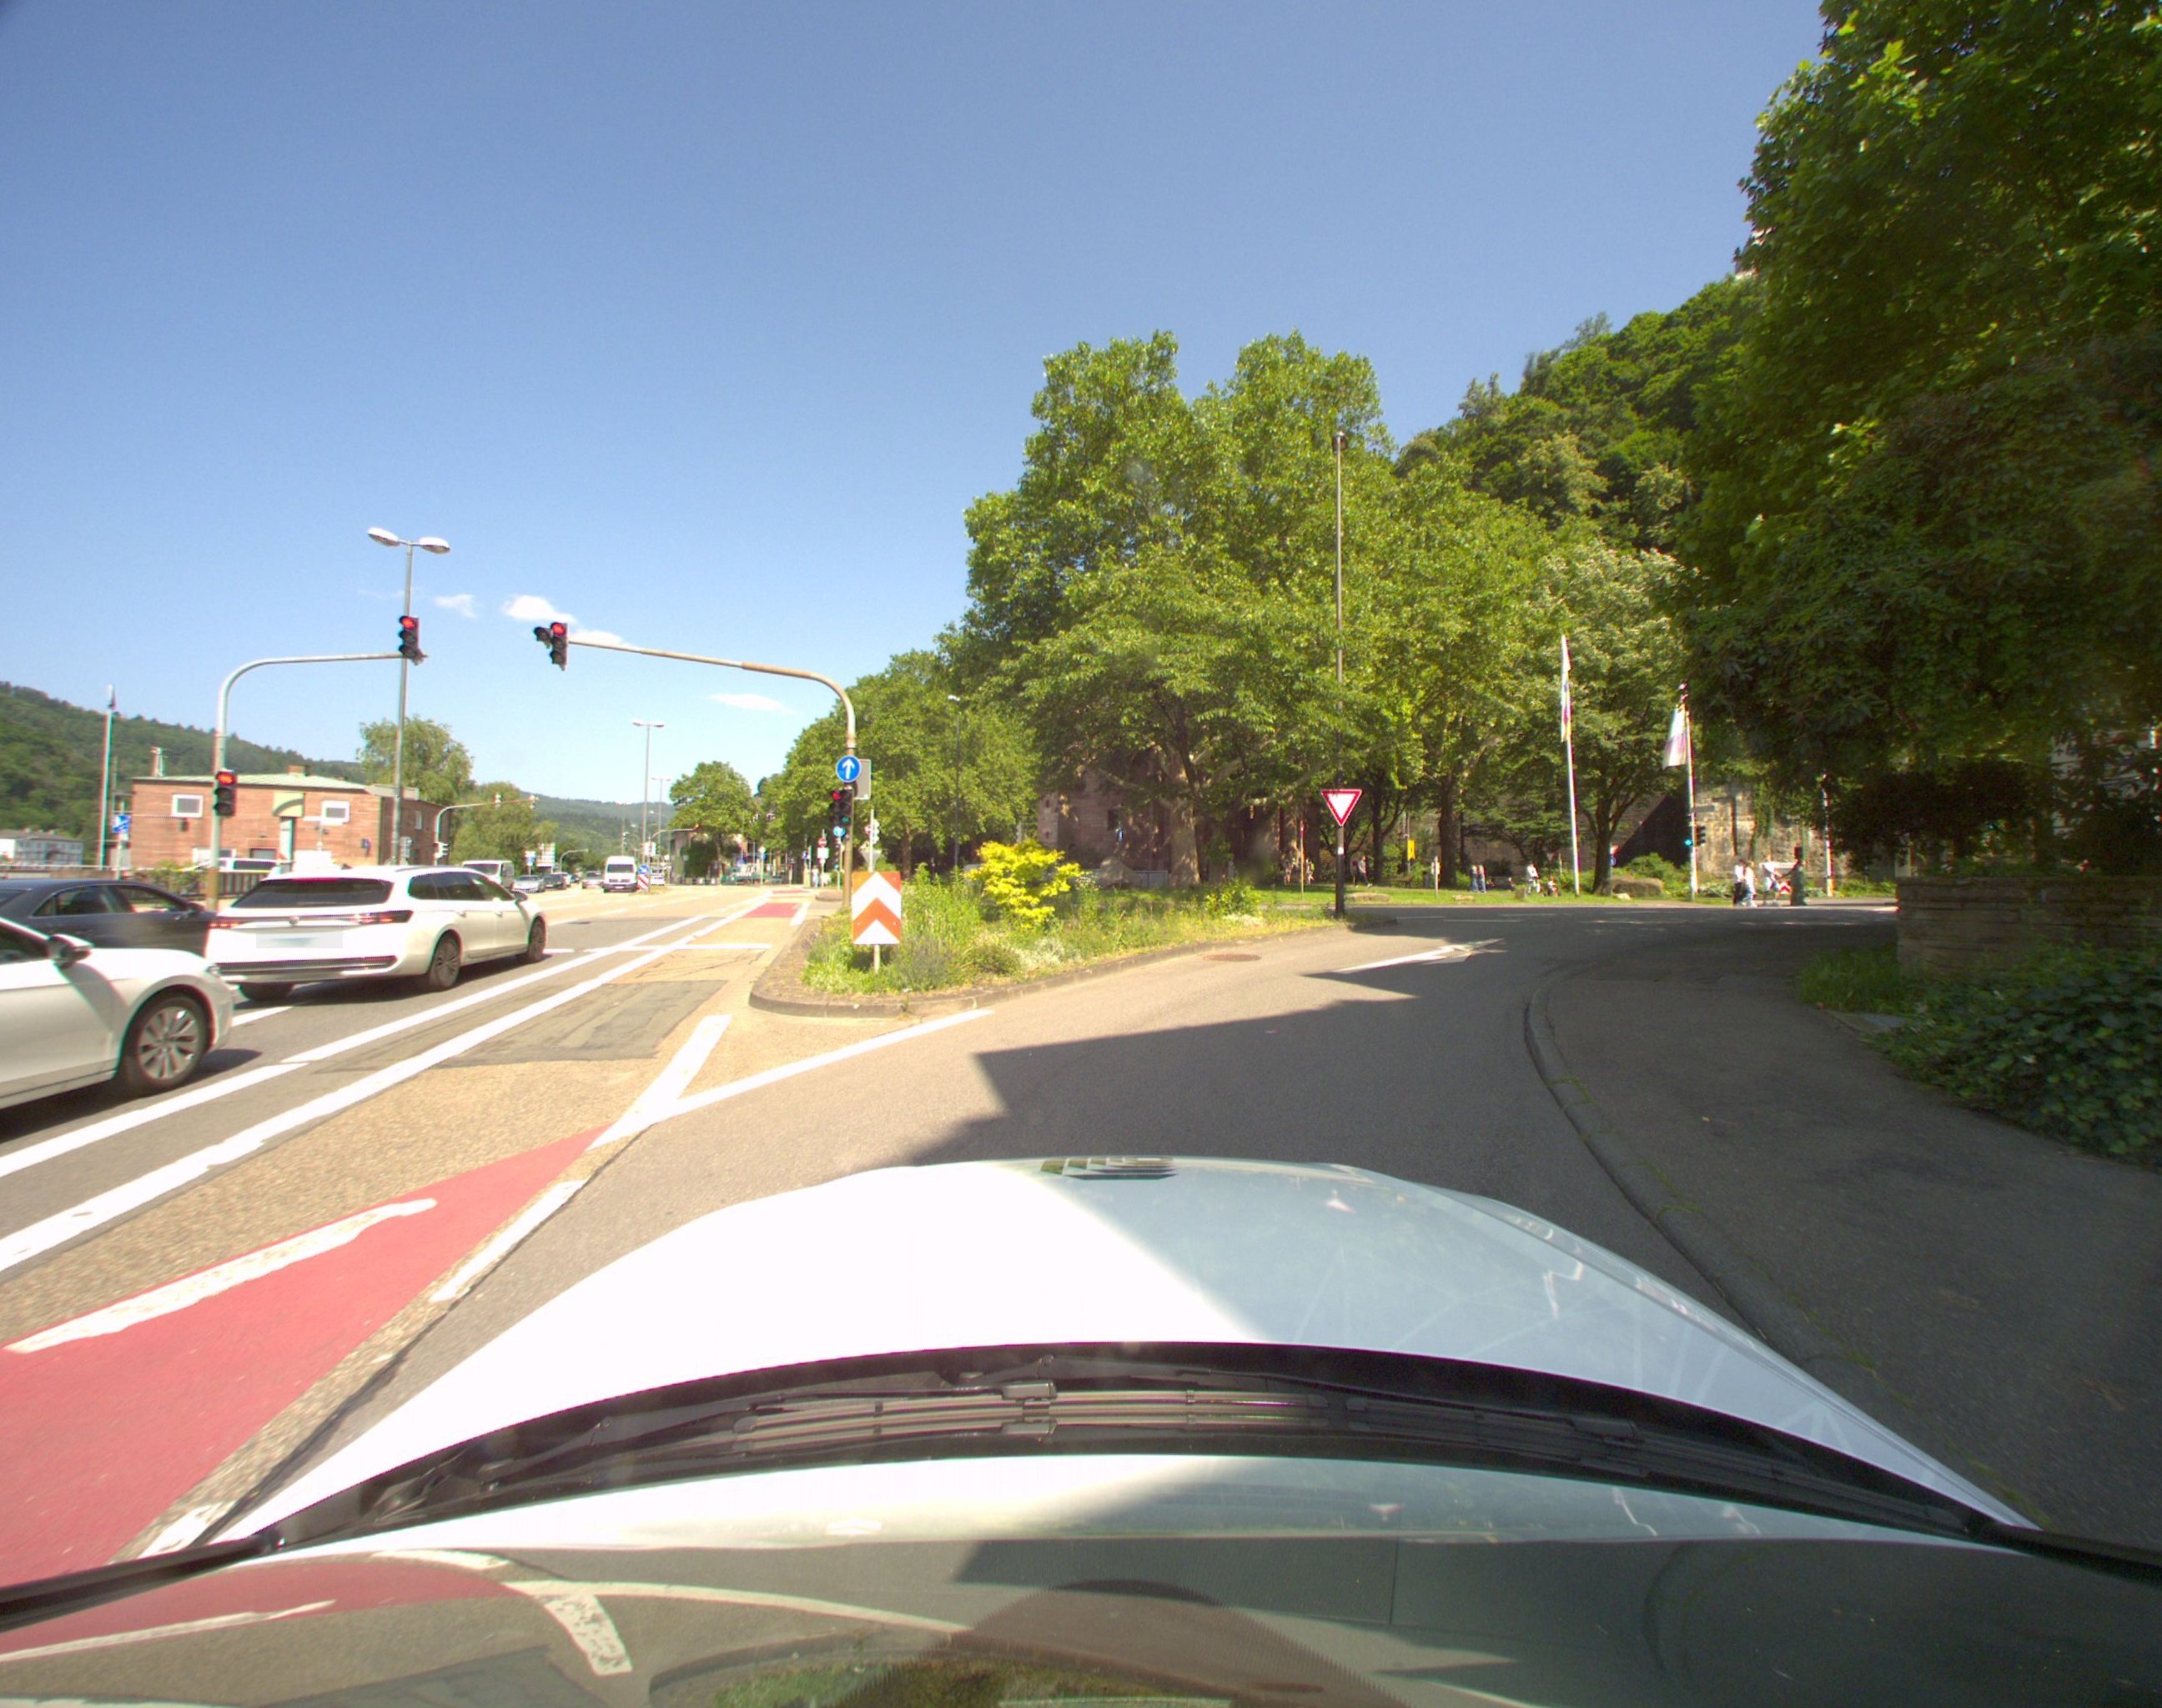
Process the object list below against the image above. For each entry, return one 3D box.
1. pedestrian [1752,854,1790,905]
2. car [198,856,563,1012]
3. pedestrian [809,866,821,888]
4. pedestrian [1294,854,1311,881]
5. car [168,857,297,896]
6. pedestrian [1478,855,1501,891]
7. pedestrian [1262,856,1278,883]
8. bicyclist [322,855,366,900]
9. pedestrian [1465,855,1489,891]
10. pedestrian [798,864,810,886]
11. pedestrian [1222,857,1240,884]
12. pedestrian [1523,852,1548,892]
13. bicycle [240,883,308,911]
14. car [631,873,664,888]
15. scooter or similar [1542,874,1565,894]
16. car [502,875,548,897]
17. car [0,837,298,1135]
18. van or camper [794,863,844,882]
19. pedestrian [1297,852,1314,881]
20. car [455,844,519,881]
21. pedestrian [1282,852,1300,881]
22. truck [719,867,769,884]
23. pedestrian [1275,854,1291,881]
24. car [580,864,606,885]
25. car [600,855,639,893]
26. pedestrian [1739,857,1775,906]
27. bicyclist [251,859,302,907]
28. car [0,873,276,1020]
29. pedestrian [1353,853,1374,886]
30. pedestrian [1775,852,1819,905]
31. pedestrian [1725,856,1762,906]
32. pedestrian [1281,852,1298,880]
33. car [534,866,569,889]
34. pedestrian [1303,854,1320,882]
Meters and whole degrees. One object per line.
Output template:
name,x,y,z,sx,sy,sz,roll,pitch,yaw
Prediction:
pedestrian,24.422,0.905,28.831,0.765,1.756,0.757,2,-2,-21
car,-8.542,0.827,10.586,1.789,1.532,4.710,-1,-1,-16
pedestrian,-20.582,1.761,63.003,0.761,1.708,0.875,-1,-1,-8
pedestrian,14.280,0.873,52.541,0.795,1.756,0.661,2,-2,-21
car,-46.678,1.186,44.889,1.974,2.014,4.647,-1,-1,34
pedestrian,20.474,0.942,40.793,0.795,1.756,0.661,2,-2,-21
pedestrian,12.507,1.016,53.928,0.795,1.756,0.661,2,-2,-21
bicyclist,-34.200,1.083,37.805,1.217,2.014,1.110,0,-1,-23
pedestrian,19.684,0.929,40.495,0.795,1.756,0.661,2,-1,-21
pedestrian,-21.383,1.608,62.892,0.761,1.719,0.793,-1,-1,-8
pedestrian,9.930,1.079,53.993,0.795,1.782,0.870,0,-1,-20
pedestrian,20.143,0.798,36.064,0.769,1.756,0.753,0,-1,-44
bicycle,-34.656,1.835,35.033,1.218,1.090,2.577,0,-1,-24
car,-61.018,3.748,114.584,3.953,2.014,1.953,-1,0,20
scooter or similar,20.608,1.299,35.491,0.573,0.812,0.724,0,-1,-44
car,-40.761,2.294,59.814,2.218,1.458,4.708,0,-1,-27
car,-6.483,0.684,3.736,1.996,1.533,4.835,0,0,-14
van or camper,-27.066,1.923,84.241,4.523,1.902,2.001,-1,-1,3
pedestrian,13.971,0.771,50.668,0.795,1.756,0.661,2,-2,-21
car,-35.336,0.505,48.579,2.226,2.078,5.000,0,-1,-26
pedestrian,13.068,0.775,50.737,0.795,1.756,0.661,2,-2,-21
truck,-40.570,2.564,98.100,6.192,2.014,2.177,-1,-1,29
pedestrian,13.466,0.902,54.322,0.795,1.756,0.661,2,-2,-21
car,-45.241,1.866,75.491,2.007,1.833,3.960,0,0,-32
car,-33.443,1.387,59.015,2.398,2.576,5.997,0,-1,-30
pedestrian,24.926,1.020,30.038,0.765,1.756,0.757,2,-2,-21
bicyclist,-34.708,1.227,35.156,1.217,2.014,1.110,0,-1,-23
car,-11.888,0.945,9.457,1.870,1.359,3.979,0,0,-15
pedestrian,15.406,0.859,44.403,0.795,1.756,0.717,2,-2,-21
pedestrian,24.504,0.832,27.878,0.802,1.756,0.861,2,-2,-21
pedestrian,24.197,0.983,29.747,0.765,1.756,0.757,2,-2,-21
pedestrian,13.369,0.798,52.194,0.795,1.756,0.661,2,-2,-21
car,-44.939,1.940,69.231,2.220,1.780,4.705,0,0,-29
pedestrian,14.637,0.876,51.718,0.795,1.756,0.661,2,-2,-21
